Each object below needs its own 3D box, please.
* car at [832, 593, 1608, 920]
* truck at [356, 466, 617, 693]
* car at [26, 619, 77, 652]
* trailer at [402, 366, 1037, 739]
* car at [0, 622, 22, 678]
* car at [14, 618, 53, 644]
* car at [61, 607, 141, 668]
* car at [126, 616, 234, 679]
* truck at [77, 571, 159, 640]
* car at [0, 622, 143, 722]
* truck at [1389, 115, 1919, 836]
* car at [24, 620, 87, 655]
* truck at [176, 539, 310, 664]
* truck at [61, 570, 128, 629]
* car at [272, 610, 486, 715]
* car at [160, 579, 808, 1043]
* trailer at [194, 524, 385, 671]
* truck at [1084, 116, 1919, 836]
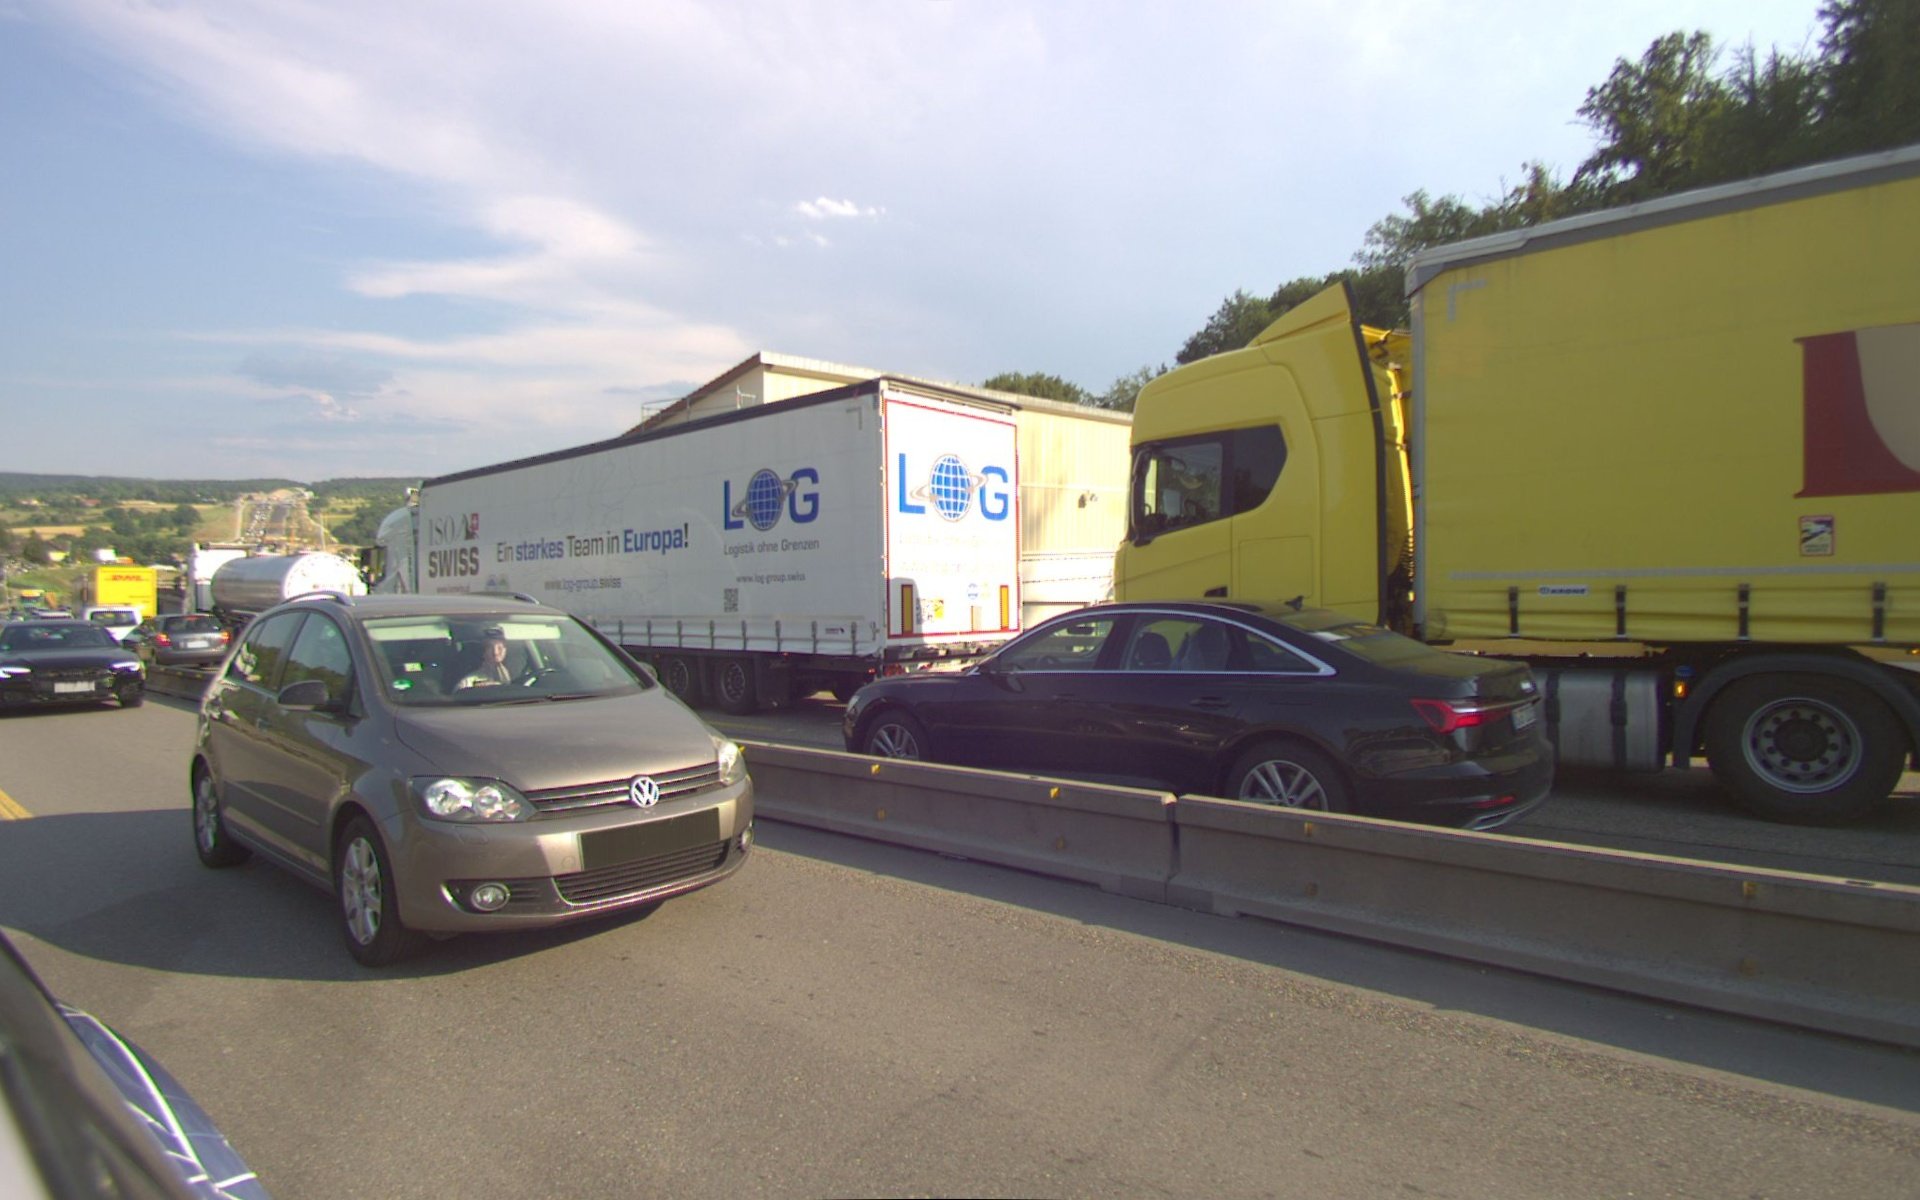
[{"bbox_3d":[1.410,0.728,6.714,4.670,1.436,1.789,-1,0,40],"label":"car"},{"bbox_3d":[-10.066,-0.335,21.232,6.100,4.066,2.813,-1,-1,42],"label":"truck"},{"bbox_3d":[-45.638,1.743,50.815,1.705,1.541,4.003,-1,0,-44],"label":"car"},{"bbox_3d":[-5.134,-0.433,16.766,13.967,4.066,2.827,-1,-1,42],"label":"trailer"},{"bbox_3d":[-26.190,1.347,26.799,4.000,1.409,1.676,-2,0,43],"label":"car"},{"bbox_3d":[-59.399,1.966,64.888,1.734,1.541,4.003,0,0,-44],"label":"car"},{"bbox_3d":[-29.013,1.216,34.128,1.840,1.925,4.004,0,-1,-44],"label":"car"},{"bbox_3d":[-20.783,1.225,26.928,3.689,1.521,1.640,-1,0,42],"label":"car"},{"bbox_3d":[-49.498,0.323,59.401,2.860,3.738,9.494,0,0,-45],"label":"truck"},{"bbox_3d":[-14.801,1.075,16.396,3.999,1.409,1.842,-1,-1,42],"label":"car"},{"bbox_3d":[9.515,-0.765,4.117,14.142,4.119,2.680,-1,-1,40],"label":"truck"},{"bbox_3d":[-39.842,1.623,44.563,4.002,1.423,1.774,-1,-3,45],"label":"car"},{"bbox_3d":[-24.826,0.082,34.941,6.203,3.917,2.571,-1,-1,43],"label":"truck"},{"bbox_3d":[-61.088,-0.012,71.346,2.860,3.913,9.494,0,0,-45],"label":"truck"},{"bbox_3d":[-9.555,0.922,16.477,4.563,1.440,1.639,-1,0,42],"label":"car"},{"bbox_3d":[-2.802,0.740,5.462,4.098,1.585,1.666,-1,0,41],"label":"car"},{"bbox_3d":[-21.104,0.006,31.463,10.577,3.910,2.569,-1,-1,43],"label":"trailer"},{"bbox_3d":[4.352,-0.671,8.493,6.096,4.119,2.686,-1,-1,40],"label":"truck"}]
